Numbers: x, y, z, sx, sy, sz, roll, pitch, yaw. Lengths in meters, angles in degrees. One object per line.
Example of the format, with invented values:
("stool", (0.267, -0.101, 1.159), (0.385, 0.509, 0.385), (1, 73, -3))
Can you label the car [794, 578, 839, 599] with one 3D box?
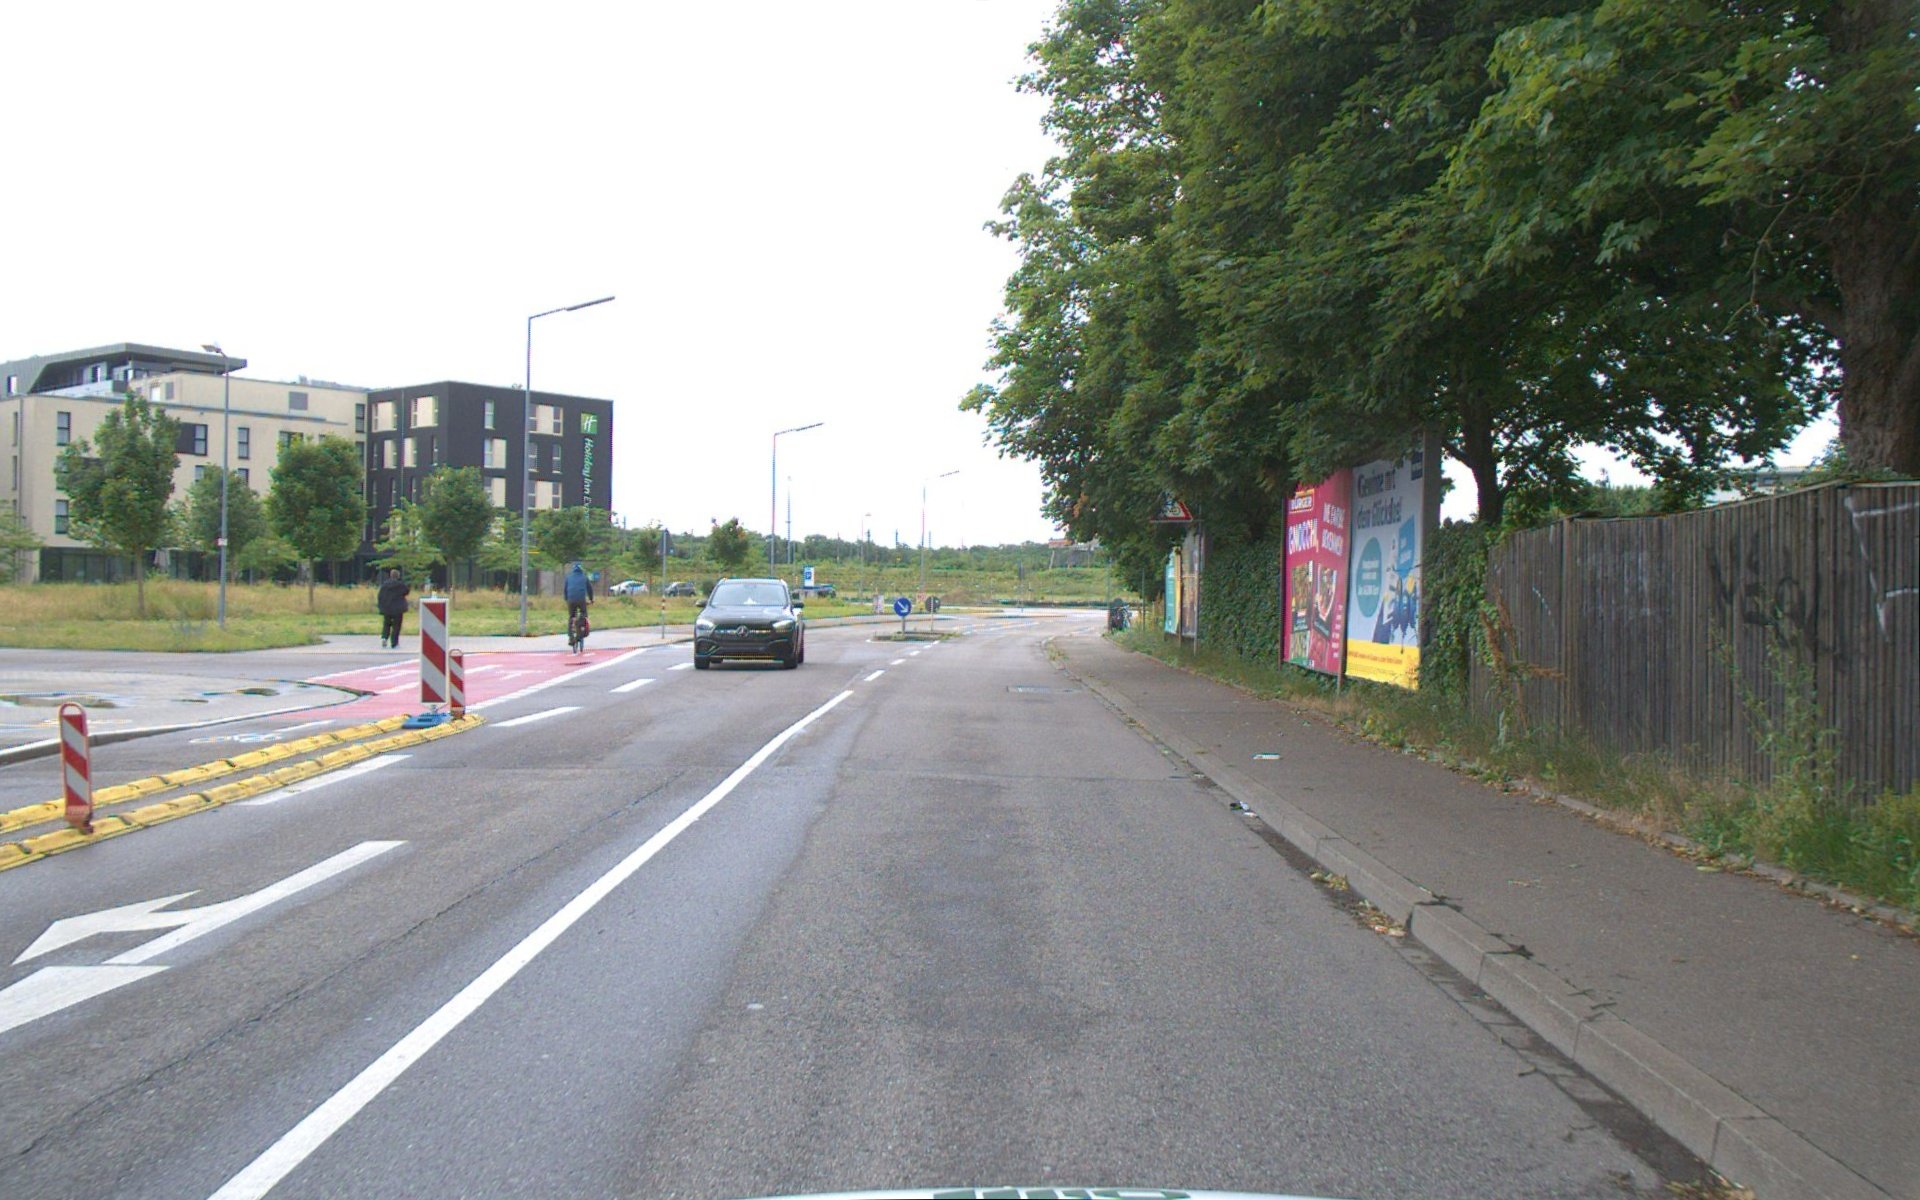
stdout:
("car", (-13.209, -1.031, 152.040), (3.930, 1.854, 1.988), (2, 1, 43))

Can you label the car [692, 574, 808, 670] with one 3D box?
("car", (-3.784, 0.352, 30.480), (1.844, 1.594, 4.355), (1, 1, -4))

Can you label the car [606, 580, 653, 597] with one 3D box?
("car", (-30.814, -1.102, 154.123), (1.959, 1.544, 4.141), (1, 1, 33))

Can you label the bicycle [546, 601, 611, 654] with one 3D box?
("bicycle", (-8.333, 0.580, 36.249), (0.865, 1.070, 2.469), (1, 1, 0))

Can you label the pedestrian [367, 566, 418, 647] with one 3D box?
("pedestrian", (-12.934, 0.143, 37.733), (0.827, 1.813, 1.076), (1, 1, -4))

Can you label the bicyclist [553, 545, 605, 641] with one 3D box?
("bicyclist", (-8.327, -0.165, 36.176), (0.844, 2.048, 1.177), (1, 1, 0))

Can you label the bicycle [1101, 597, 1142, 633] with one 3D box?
("bicycle", (5.247, 0.470, 53.592), (0.779, 1.130, 1.951), (1, 0, 23))
